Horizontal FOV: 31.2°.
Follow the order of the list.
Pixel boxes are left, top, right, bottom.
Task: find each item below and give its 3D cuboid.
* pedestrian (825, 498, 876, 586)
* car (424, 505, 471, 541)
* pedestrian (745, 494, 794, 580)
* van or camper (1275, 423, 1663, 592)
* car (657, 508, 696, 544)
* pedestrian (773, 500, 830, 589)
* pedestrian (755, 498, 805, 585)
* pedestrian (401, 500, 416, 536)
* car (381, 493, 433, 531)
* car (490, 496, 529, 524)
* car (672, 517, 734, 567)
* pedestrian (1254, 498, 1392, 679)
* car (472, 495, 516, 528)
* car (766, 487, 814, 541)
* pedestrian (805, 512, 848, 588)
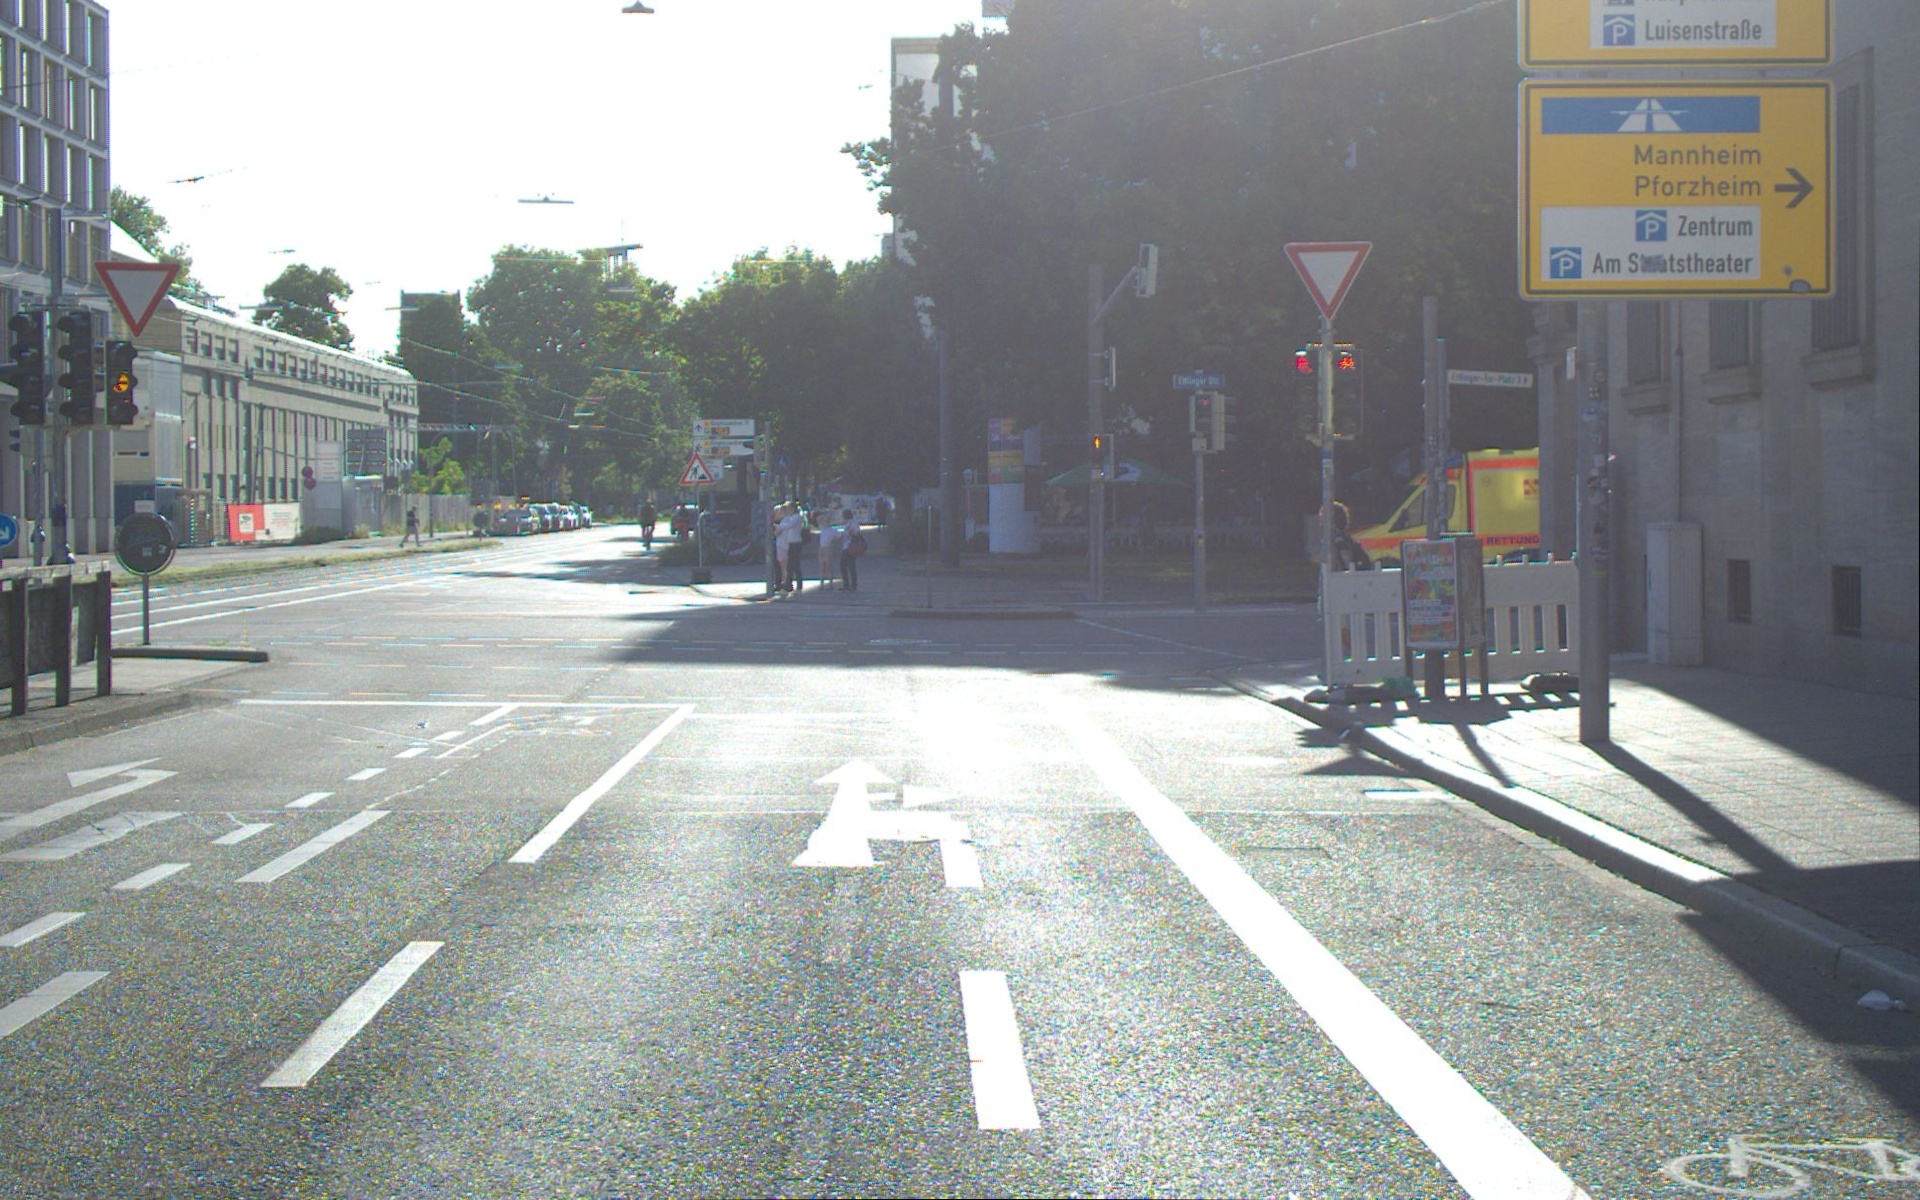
[{"bbox_3d":[-2.245,-1.187,70.456,0.847,1.778,0.780,-1,1,-17],"label":"pedestrian"},{"bbox_3d":[-25.066,-3.788,168.247,1.819,1.706,3.806,-1,1,-1],"label":"car"},{"bbox_3d":[-3.954,-1.307,71.400,0.847,1.778,0.780,-1,1,-17],"label":"pedestrian"},{"bbox_3d":[9.188,-1.669,62.735,6.709,2.852,2.910,1,0,4],"label":"van or camper"},{"bbox_3d":[-14.254,-3.692,172.802,1.684,1.731,3.509,1,1,-1],"label":"car"},{"bbox_3d":[-3.182,-1.122,69.162,0.965,1.778,0.780,-1,1,-17],"label":"pedestrian"},{"bbox_3d":[-3.700,-1.202,70.612,0.847,1.778,0.780,-1,1,-17],"label":"pedestrian"},{"bbox_3d":[-22.572,-3.348,140.730,0.524,1.479,0.438,1,0,-2],"label":"pedestrian"},{"bbox_3d":[-25.329,-4.012,157.444,1.819,1.706,3.806,-1,1,-1],"label":"car"},{"bbox_3d":[-24.086,-4.812,183.960,1.609,1.493,3.806,-1,1,-1],"label":"car"},{"bbox_3d":[-7.968,-1.794,106.886,1.684,1.495,3.509,1,1,-1],"label":"car"},{"bbox_3d":[3.502,-0.124,33.245,1.039,1.715,1.035,-1,1,-12],"label":"pedestrian"},{"bbox_3d":[-24.411,-4.653,180.075,1.819,1.706,3.806,-1,1,-1],"label":"car"},{"bbox_3d":[-6.490,-3.288,131.749,1.684,1.955,3.509,1,1,-1],"label":"car"},{"bbox_3d":[-2.767,-1.034,71.171,0.762,1.553,0.588,-1,1,-17],"label":"pedestrian"}]
